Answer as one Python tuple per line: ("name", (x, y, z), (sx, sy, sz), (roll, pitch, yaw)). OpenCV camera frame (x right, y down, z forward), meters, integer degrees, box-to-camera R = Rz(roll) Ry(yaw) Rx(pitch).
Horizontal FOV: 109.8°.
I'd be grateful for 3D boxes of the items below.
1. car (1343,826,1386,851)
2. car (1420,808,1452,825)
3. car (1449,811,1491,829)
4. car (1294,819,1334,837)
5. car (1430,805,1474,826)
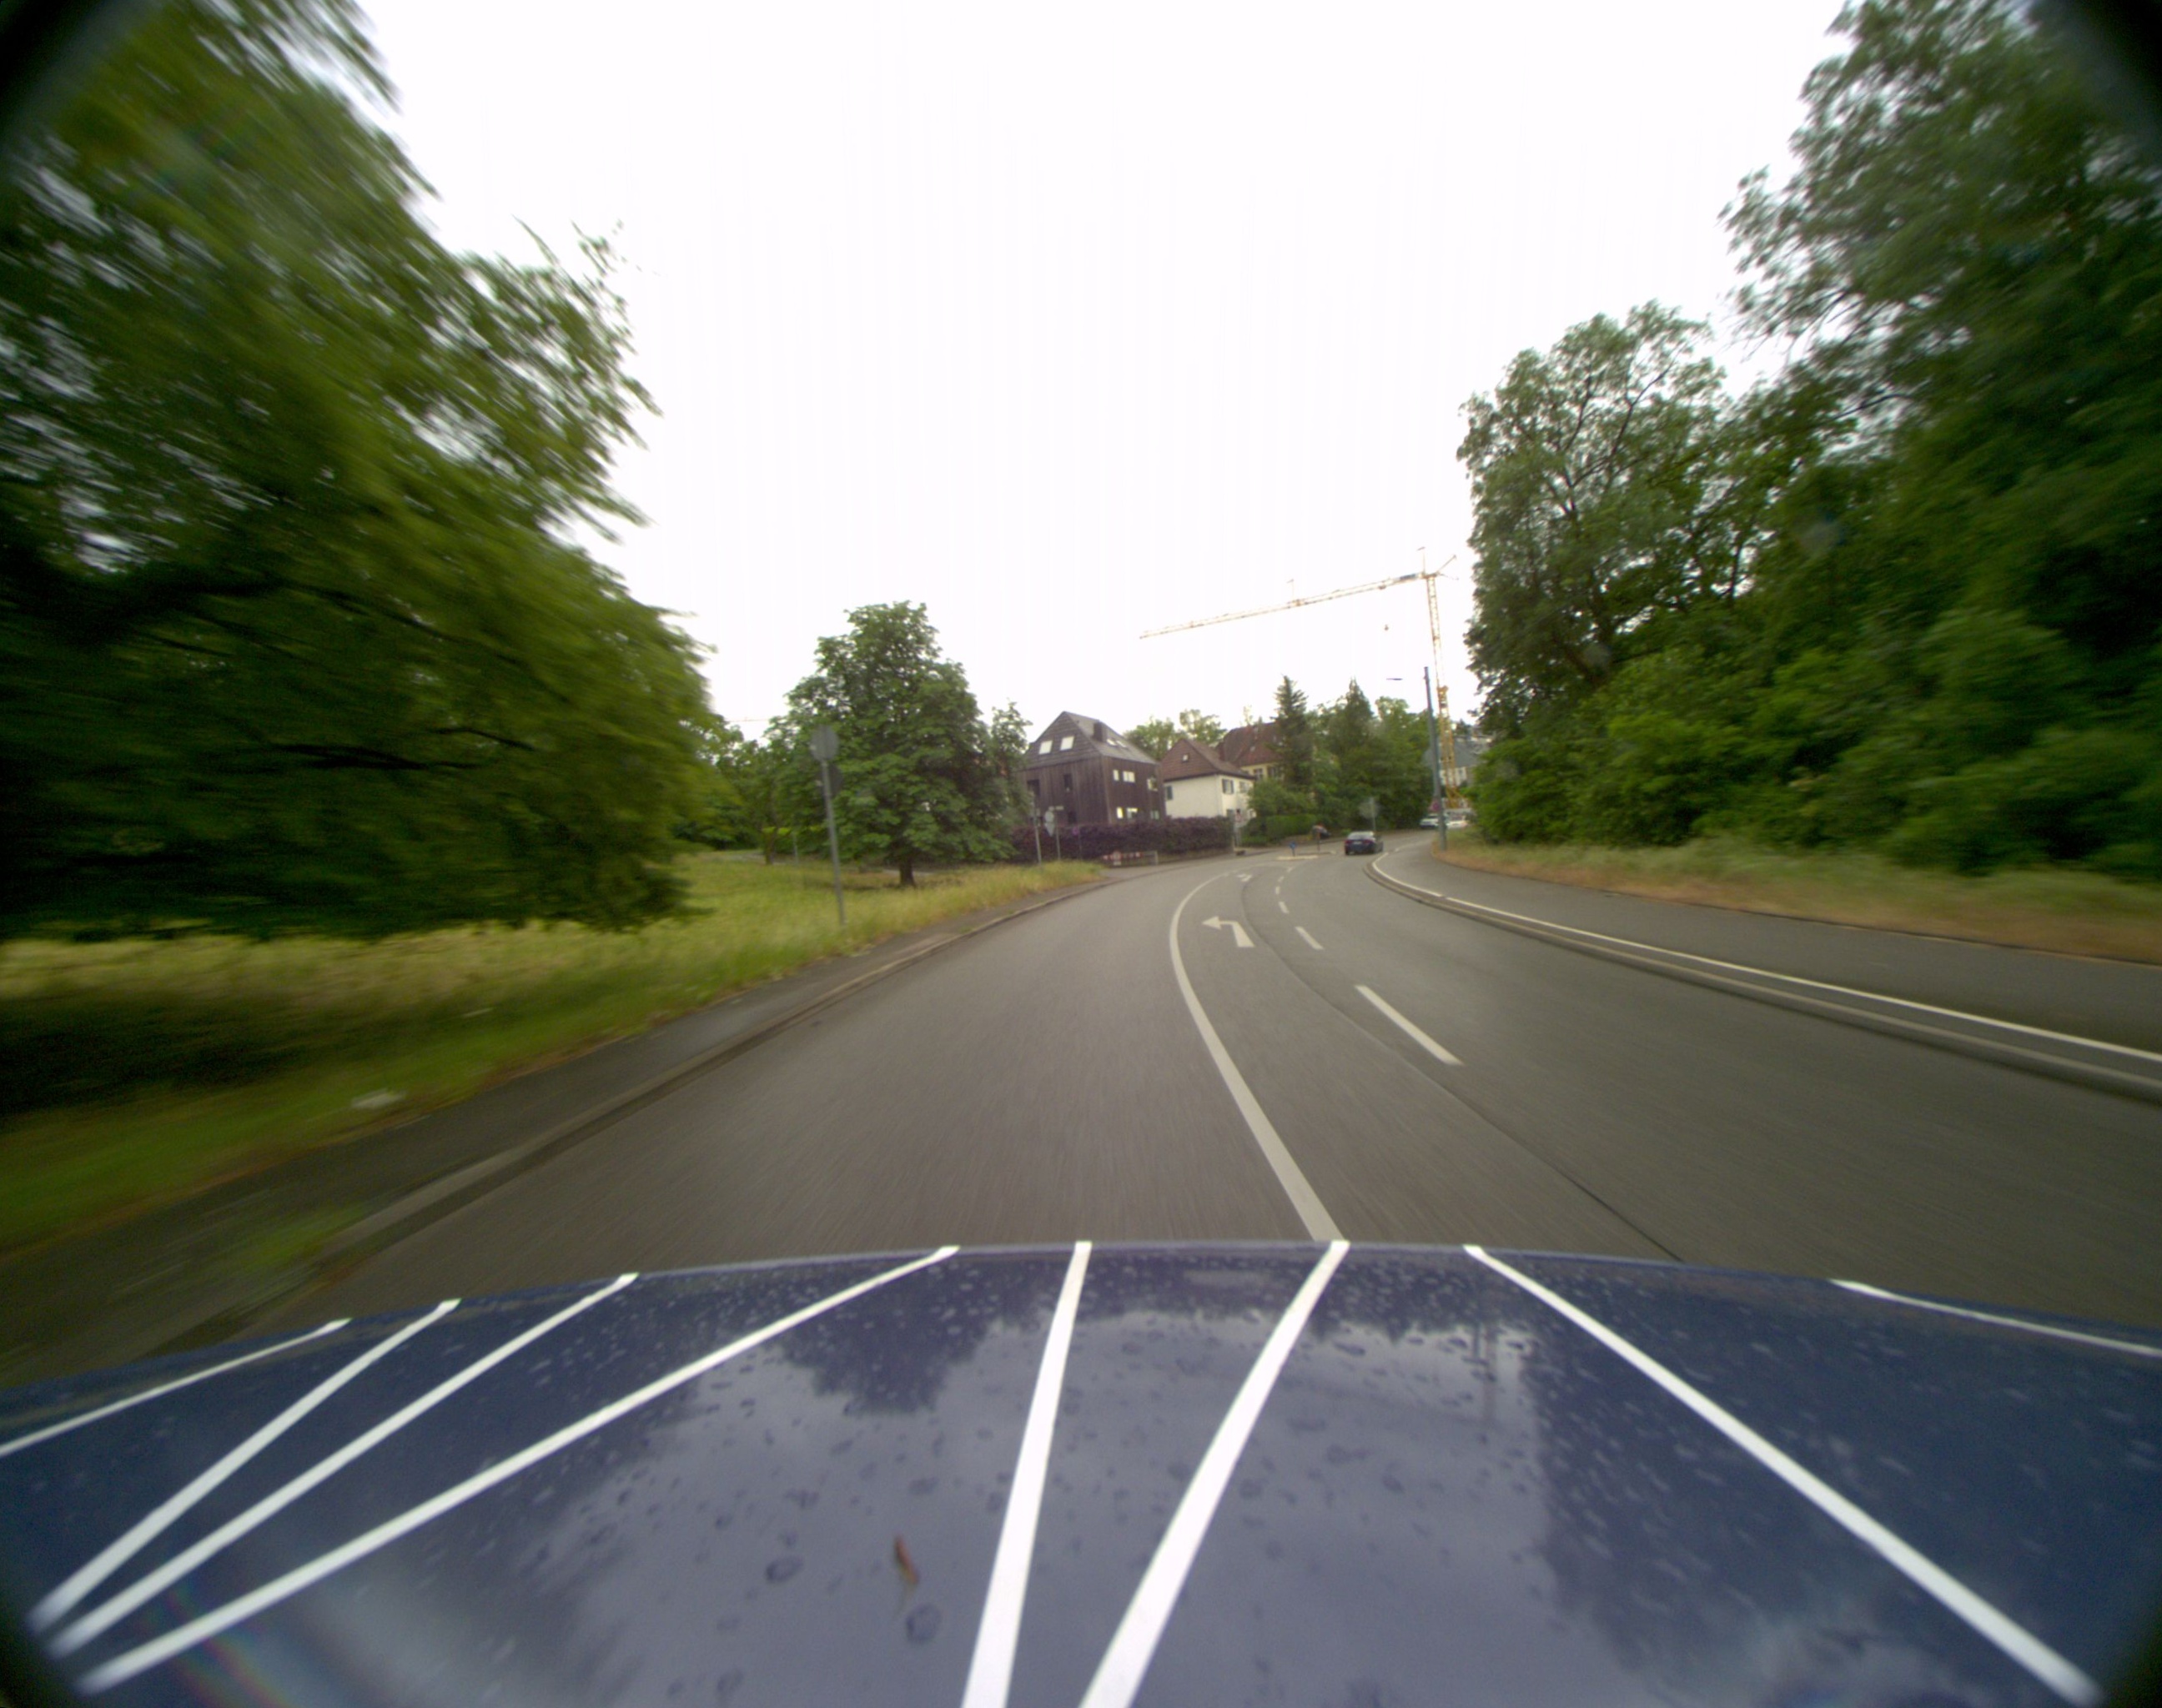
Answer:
("car", (18.717, -1.034, 50.029), (1.847, 1.493, 4.638), (0, 2, 30))
("car", (38.984, -4.162, 83.339), (4.006, 1.587, 1.827), (-7, 5, -44))
("car", (37.205, -3.251, 72.697), (3.670, 1.469, 1.568), (-4, 3, -23))
("car", (23.788, -2.636, 77.517), (3.480, 1.404, 1.430), (-7, 0, 39))
("car", (38.263, -3.968, 78.361), (4.004, 1.707, 1.996), (-6, 1, -29))
